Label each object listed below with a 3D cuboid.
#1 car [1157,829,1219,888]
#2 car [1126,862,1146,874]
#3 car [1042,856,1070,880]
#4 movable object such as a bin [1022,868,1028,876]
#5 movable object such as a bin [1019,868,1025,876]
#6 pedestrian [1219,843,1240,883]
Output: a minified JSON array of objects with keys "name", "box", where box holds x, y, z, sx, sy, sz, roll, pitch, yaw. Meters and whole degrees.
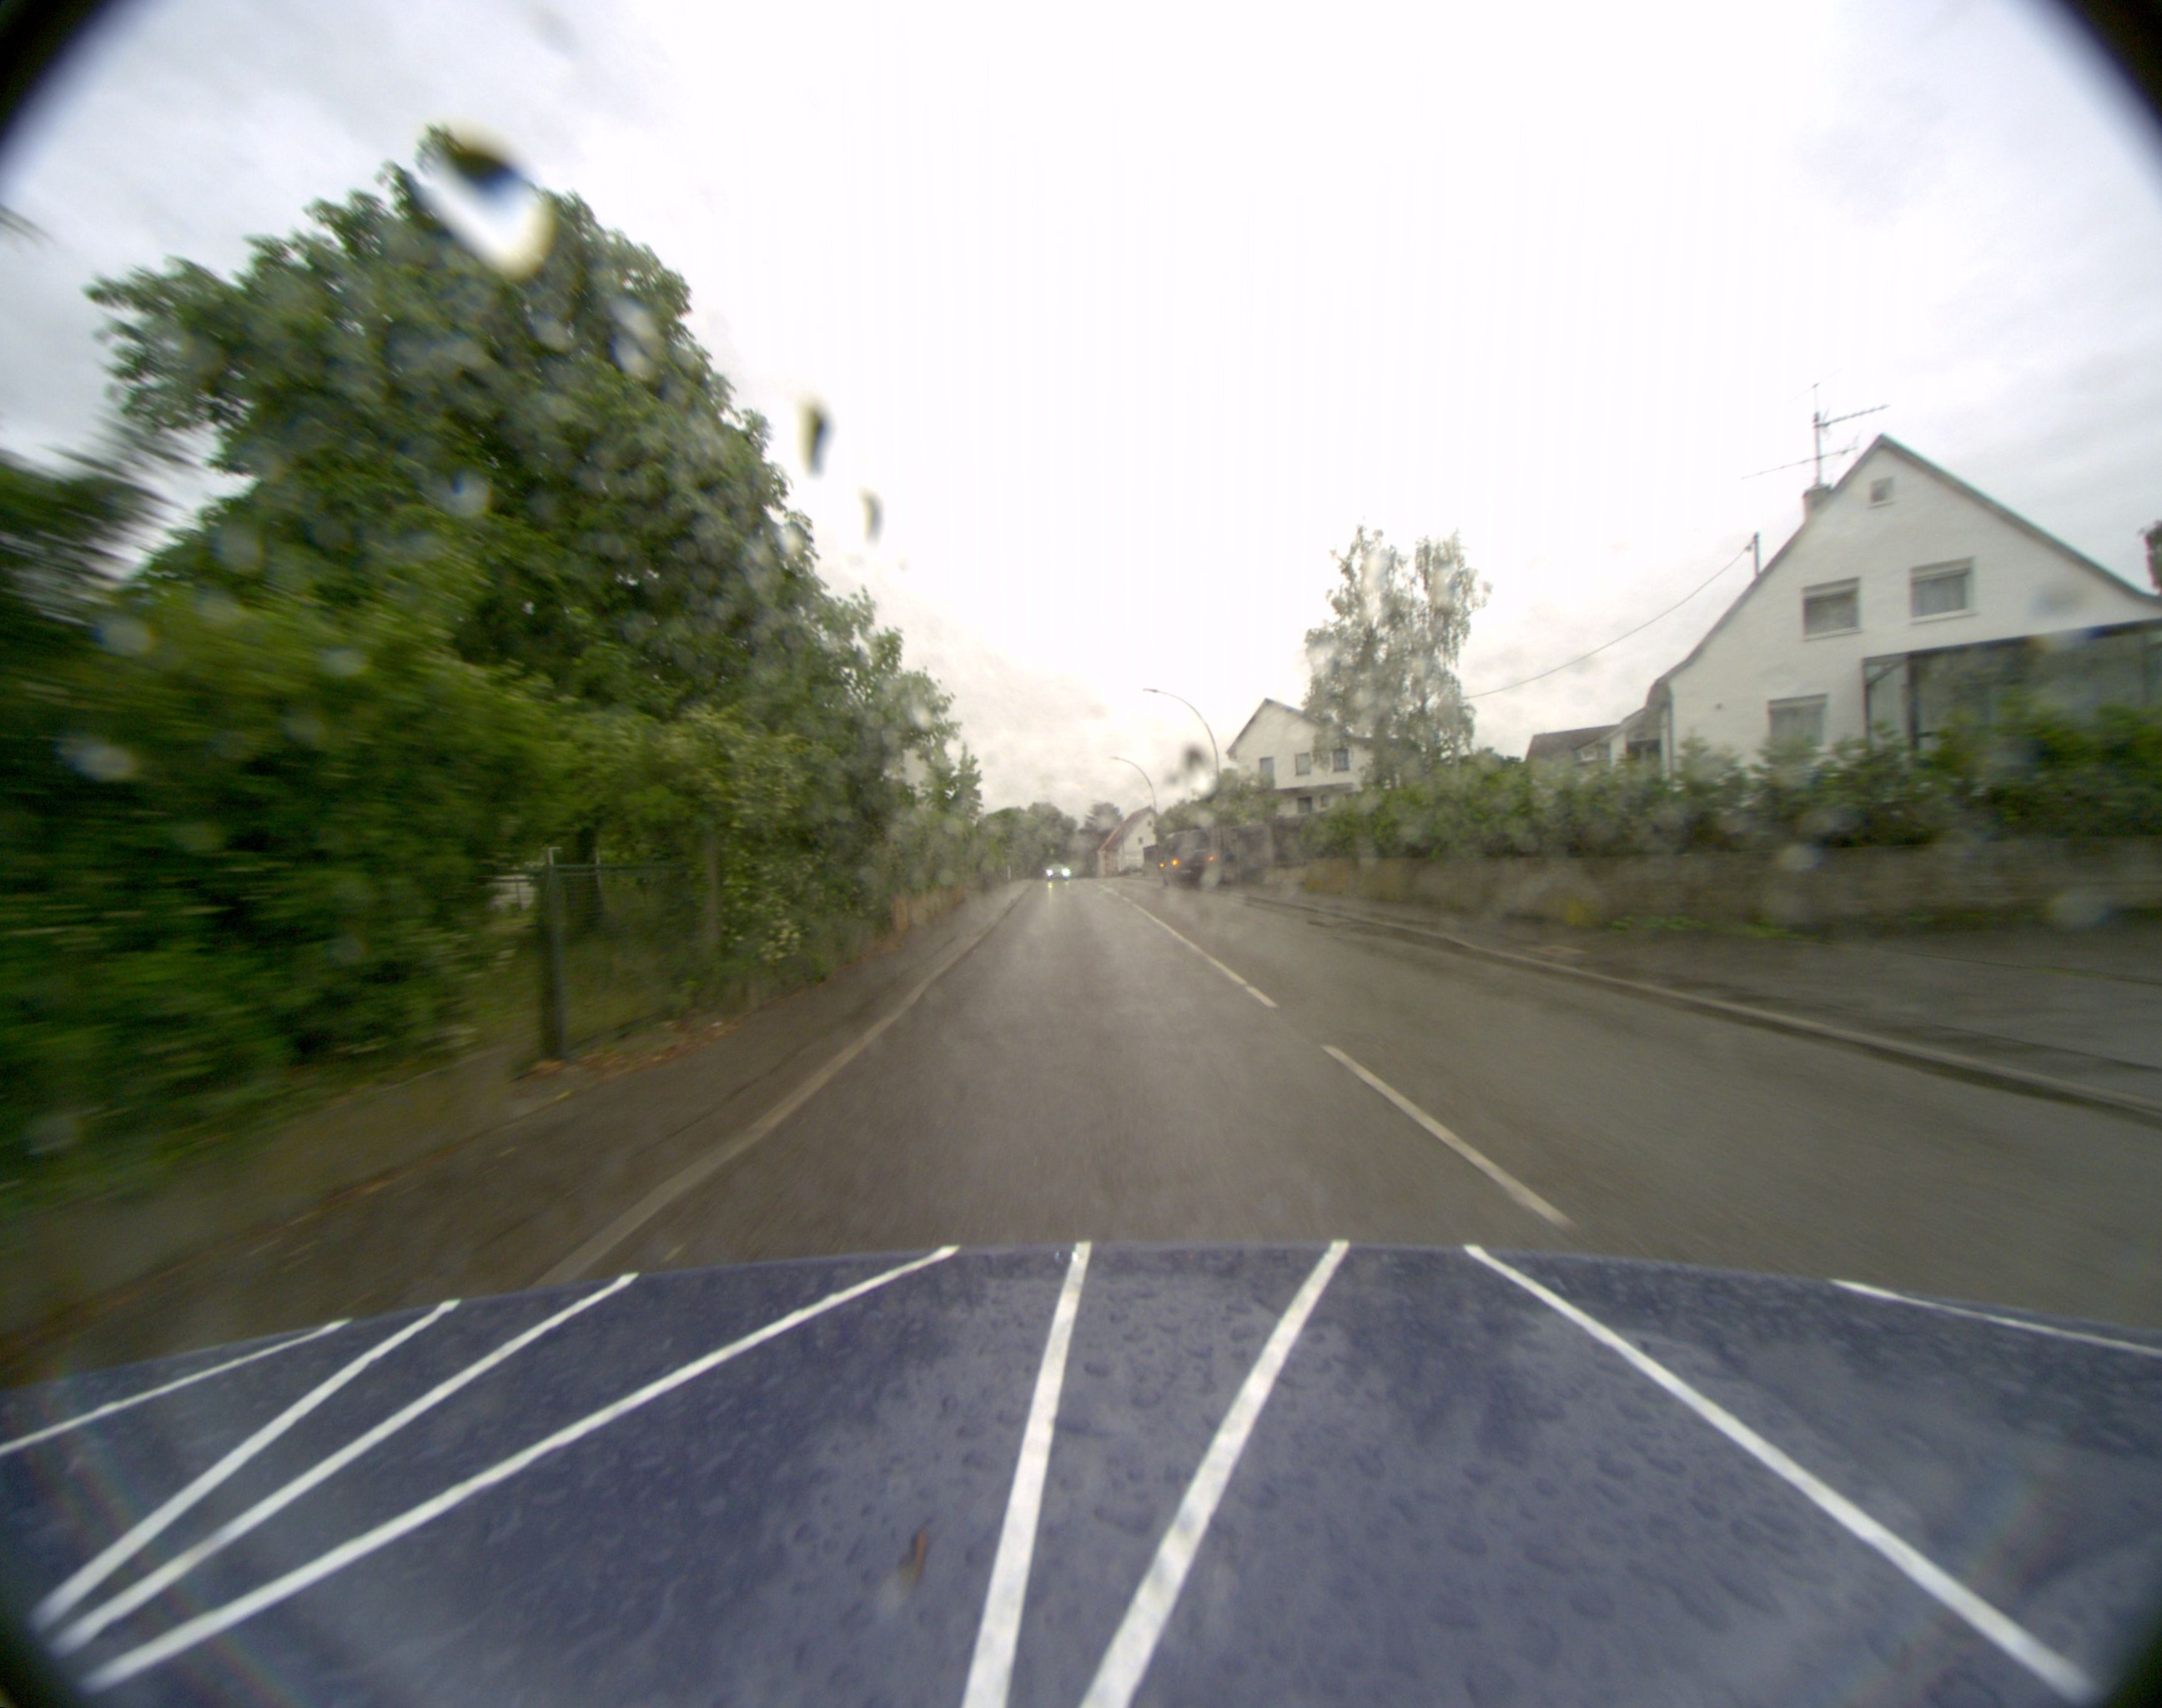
[{"name":"car","box":[5.357,0.216,38.814,2.100,2.633,5.918,-4,0,0]},{"name":"car","box":[7.493,1.909,104.048,1.904,1.433,3.834,-5,-3,15]},{"name":"car","box":[-2.213,1.226,65.624,2.000,2.001,3.998,-3,-1,-7]},{"name":"movable object such as a bin","box":[-7.058,2.227,96.106,0.530,1.015,0.734,-2,-1,16]},{"name":"movable object such as a bin","box":[-7.357,2.204,94.249,0.628,1.015,0.541,-1,-1,2]},{"name":"pedestrian","box":[7.199,0.441,36.750,0.679,1.875,0.811,-2,1,30]}]
